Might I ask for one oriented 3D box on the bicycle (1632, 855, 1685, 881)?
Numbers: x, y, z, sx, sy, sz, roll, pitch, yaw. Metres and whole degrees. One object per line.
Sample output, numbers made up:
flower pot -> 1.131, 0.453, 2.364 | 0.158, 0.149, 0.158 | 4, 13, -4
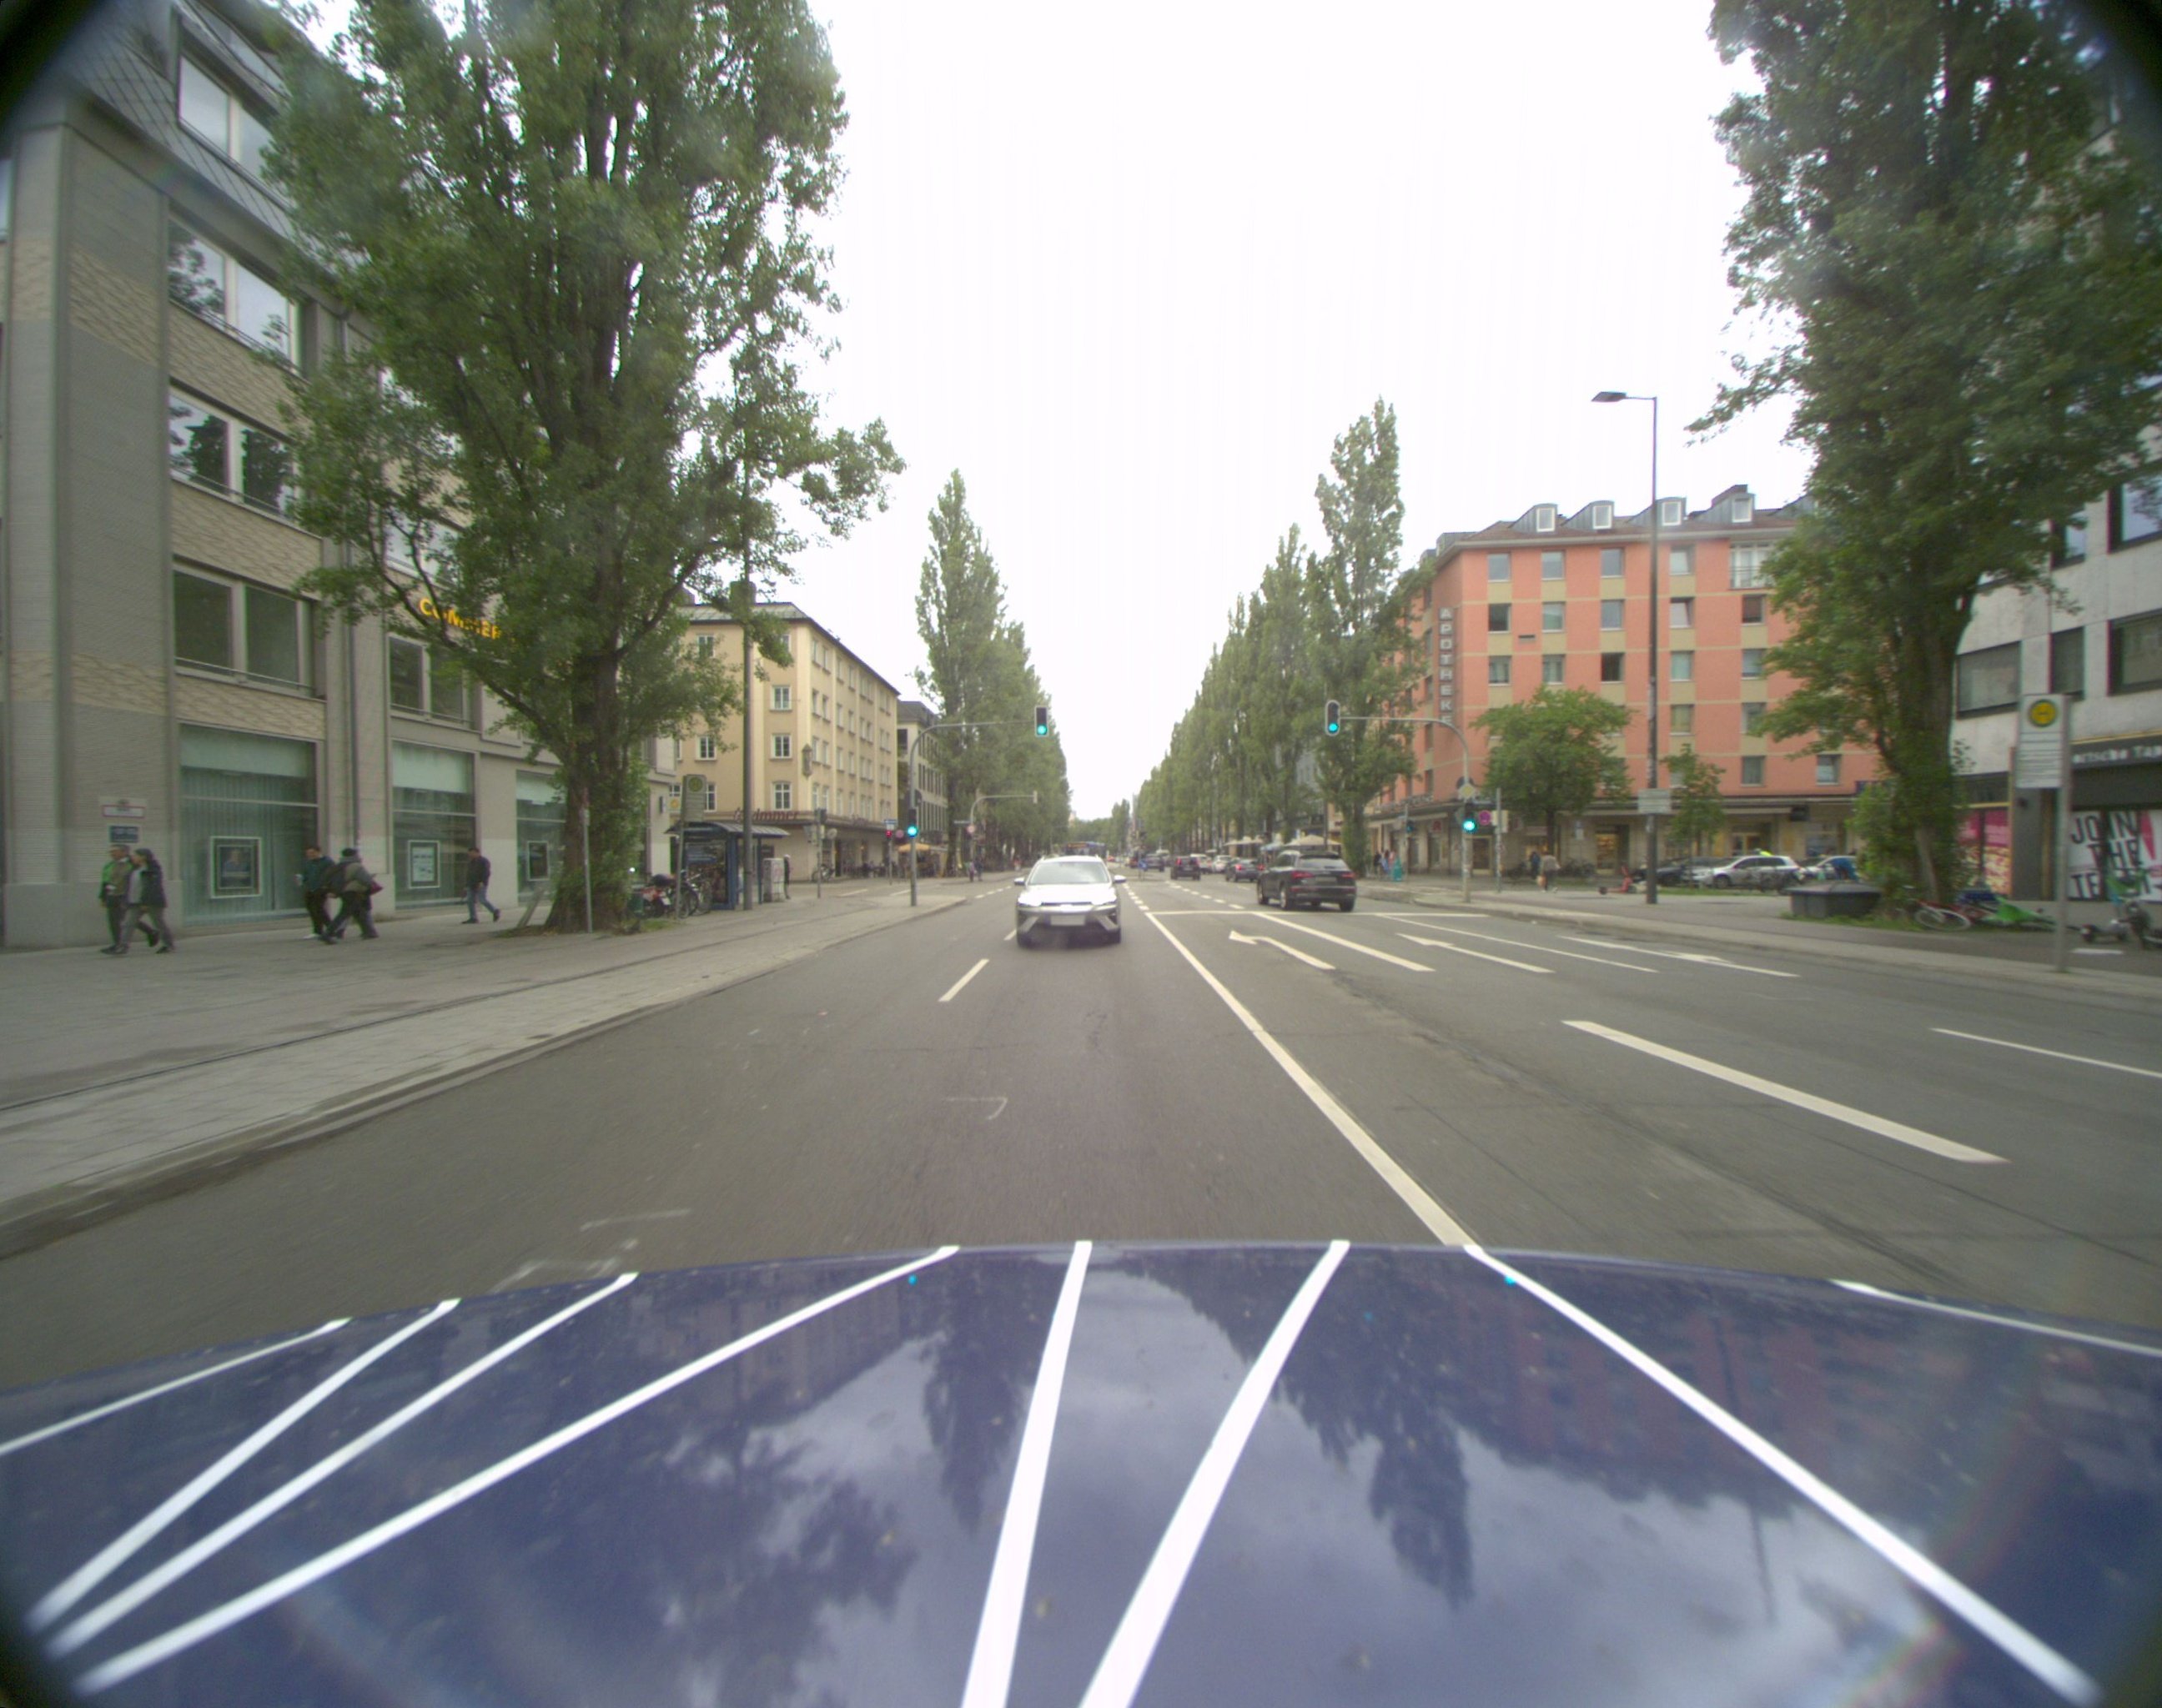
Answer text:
bicycle -> 28.484, 0.680, 37.464 | 2.060, 1.177, 0.538 | -2, 1, 9

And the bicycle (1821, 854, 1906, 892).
bicycle -> 26.119, 0.640, 25.384 | 2.137, 1.242, 0.558 | -1, 1, 5

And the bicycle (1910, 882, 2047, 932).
bicycle -> 16.642, 0.962, 14.107 | 1.955, 0.510, 0.826 | -2, 22, -17

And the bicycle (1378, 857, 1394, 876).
bicycle -> 18.209, 0.749, 45.359 | 0.422, 1.135, 1.373 | -1, 1, 2

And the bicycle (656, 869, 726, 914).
bicycle -> -11.188, 1.055, 21.782 | 2.241, 1.245, 0.478 | -1, 1, 25

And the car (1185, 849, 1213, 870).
car -> 10.138, 0.440, 65.576 | 1.841, 1.706, 4.636 | 0, 0, 1

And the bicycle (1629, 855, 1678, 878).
bicycle -> 30.894, 0.666, 41.037 | 2.061, 1.177, 0.690 | 0, 1, 4

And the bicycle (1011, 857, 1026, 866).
bicycle -> -7.946, 0.970, 96.854 | 1.902, 1.120, 0.686 | -1, 1, 1

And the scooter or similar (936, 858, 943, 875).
scooter or similar -> -10.172, 0.892, 54.579 | 0.408, 1.236, 1.370 | -1, 0, -15

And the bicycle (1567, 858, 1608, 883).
bicycle -> 24.338, 0.774, 36.542 | 0.416, 1.177, 2.062 | -1, 0, -6

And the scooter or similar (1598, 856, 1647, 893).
scooter or similar -> 19.375, 0.728, 27.185 | 1.362, 1.331, 0.439 | 0, 1, 21

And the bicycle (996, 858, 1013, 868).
bicycle -> -8.540, 1.006, 85.257 | 1.871, 1.129, 0.339 | 0, 1, -7

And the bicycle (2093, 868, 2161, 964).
bicycle -> 15.892, 0.892, 11.516 | 1.958, 1.282, 0.507 | -3, 1, -41

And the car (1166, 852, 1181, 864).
car -> 13.444, 0.607, 110.370 | 1.707, 1.623, 4.503 | 1, 1, 1

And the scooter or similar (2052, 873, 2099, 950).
scooter or similar -> 15.595, 0.869, 11.930 | 1.565, 1.107, 0.388 | -1, 1, -39

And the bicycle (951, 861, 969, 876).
bicycle -> -8.930, 1.057, 56.180 | 0.405, 1.064, 1.813 | -6, 0, 17

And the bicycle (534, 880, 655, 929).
bicycle -> -10.919, 1.124, 17.110 | 2.153, 1.011, 0.874 | -1, 0, 1

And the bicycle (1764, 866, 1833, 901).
bicycle -> 25.883, 1.042, 27.457 | 0.416, 1.177, 2.031 | -1, 0, -6

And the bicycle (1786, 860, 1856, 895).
bicycle -> 26.837, 0.831, 27.614 | 0.416, 1.177, 2.007 | -1, 0, -6

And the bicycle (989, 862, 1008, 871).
bicycle -> -8.642, 1.297, 79.591 | 2.005, 0.939, 0.286 | -1, 1, -7

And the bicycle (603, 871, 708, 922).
bicycle -> -11.016, 1.096, 19.699 | 2.349, 1.245, 0.633 | -1, 1, 1

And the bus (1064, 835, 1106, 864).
bus -> 0.604, -0.458, 80.936 | 2.804, 2.886, 12.865 | 0, 0, 8

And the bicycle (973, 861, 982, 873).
bicycle -> -8.593, 1.067, 63.138 | 0.510, 0.970, 1.770 | -1, 0, -1

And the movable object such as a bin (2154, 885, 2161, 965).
movable object such as a bin -> 14.735, 0.937, 9.856 | 0.725, 1.035, 0.853 | -2, 1, -28

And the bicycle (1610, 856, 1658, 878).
bicycle -> 29.902, 0.679, 41.106 | 2.061, 1.177, 0.690 | 0, 1, 4

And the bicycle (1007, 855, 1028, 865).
bicycle -> -7.954, 0.742, 95.604 | 2.577, 1.208, 0.965 | -1, 1, 1

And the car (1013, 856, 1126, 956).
car -> -0.167, 0.843, 14.135 | 1.758, 1.529, 3.916 | -2, 0, 0

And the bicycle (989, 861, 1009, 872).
bicycle -> -8.557, 1.286, 79.265 | 2.005, 1.077, 0.286 | -1, 1, -9

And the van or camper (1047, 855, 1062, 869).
van or camper -> -3.938, 1.159, 113.445 | 1.795, 1.894, 4.566 | -1, 0, 2

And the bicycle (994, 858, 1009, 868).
bicycle -> -8.808, 1.003, 83.992 | 1.666, 1.100, 0.396 | 0, 1, -10

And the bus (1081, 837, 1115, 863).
bus -> 2.240, -0.483, 93.070 | 2.804, 2.886, 12.865 | 0, 0, 8

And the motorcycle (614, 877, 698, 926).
motorcycle -> -10.270, 1.144, 18.384 | 1.728, 1.133, 0.510 | 0, 1, 2

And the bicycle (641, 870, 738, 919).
bicycle -> -10.470, 1.078, 20.345 | 2.321, 1.245, 0.477 | -1, 1, 1

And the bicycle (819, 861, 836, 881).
bicycle -> -15.693, 1.048, 47.068 | 0.435, 1.164, 1.811 | -2, 1, 0

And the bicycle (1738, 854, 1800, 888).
bicycle -> 24.738, 0.588, 27.371 | 0.416, 1.177, 1.852 | -1, 0, -6

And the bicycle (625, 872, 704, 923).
bicycle -> -10.440, 1.079, 19.053 | 1.728, 1.232, 0.449 | 0, 1, 2

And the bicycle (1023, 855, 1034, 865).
bicycle -> -8.223, 0.947, 118.285 | 0.829, 1.403, 2.594 | -1, 0, -25

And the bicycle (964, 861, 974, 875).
bicycle -> -8.585, 1.038, 58.460 | 0.510, 1.042, 1.770 | -1, 0, -1

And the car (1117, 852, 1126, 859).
car -> 9.554, 0.286, 179.719 | 1.848, 1.626, 4.575 | 1, 0, 2

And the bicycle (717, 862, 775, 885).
bicycle -> -20.047, 1.150, 45.504 | 2.978, 1.245, 0.999 | -2, 1, 1
